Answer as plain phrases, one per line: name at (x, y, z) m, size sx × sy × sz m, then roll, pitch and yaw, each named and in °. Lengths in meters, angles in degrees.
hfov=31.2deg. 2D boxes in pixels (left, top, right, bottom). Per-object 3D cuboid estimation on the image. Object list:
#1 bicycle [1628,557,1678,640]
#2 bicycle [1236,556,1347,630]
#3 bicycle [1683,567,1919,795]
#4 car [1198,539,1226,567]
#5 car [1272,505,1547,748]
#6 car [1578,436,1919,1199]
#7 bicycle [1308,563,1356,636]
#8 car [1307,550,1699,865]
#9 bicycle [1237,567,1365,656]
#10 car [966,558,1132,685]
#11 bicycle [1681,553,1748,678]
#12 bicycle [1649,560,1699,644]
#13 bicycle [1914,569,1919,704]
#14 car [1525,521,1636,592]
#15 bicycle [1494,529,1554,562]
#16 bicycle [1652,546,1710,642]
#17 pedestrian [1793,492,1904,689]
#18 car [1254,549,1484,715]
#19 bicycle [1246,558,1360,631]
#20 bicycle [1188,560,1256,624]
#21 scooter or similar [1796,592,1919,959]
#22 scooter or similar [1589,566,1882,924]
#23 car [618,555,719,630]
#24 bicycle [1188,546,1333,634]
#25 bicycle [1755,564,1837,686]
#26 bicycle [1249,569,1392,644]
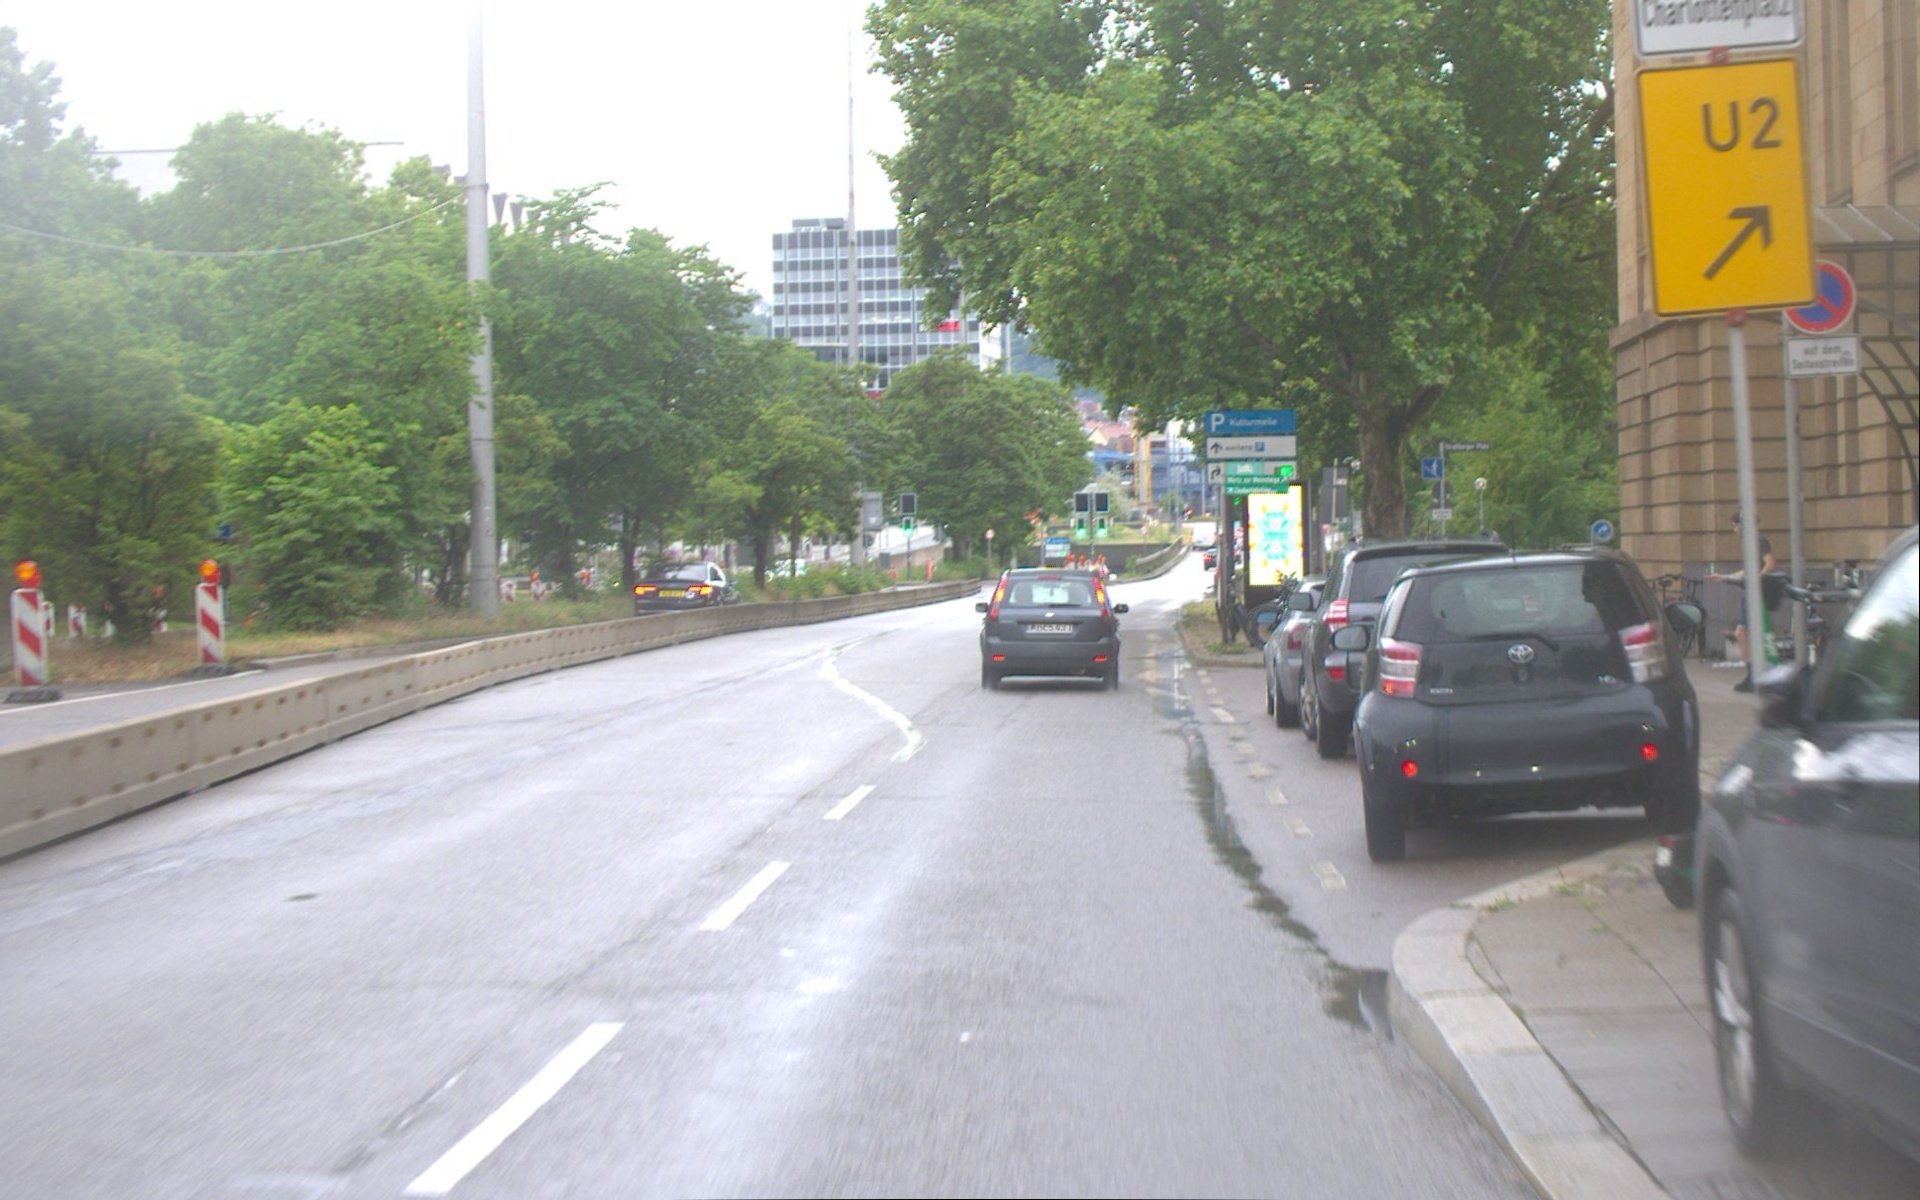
bicycle at (9.323, -0.024, 46.306) m, size 0.352 × 1.076 × 1.789 m, roll -2°, pitch 0°, yaw 3°
bicycle at (5.059, -0.105, 52.484) m, size 1.679 × 1.118 × 0.601 m, roll 0°, pitch 1°, yaw 6°
bicycle at (4.883, 0.434, 19.745) m, size 0.775 × 1.214 × 1.966 m, roll -2°, pitch 1°, yaw -8°
car at (16.952, -3.175, 231.113) m, size 1.739 × 1.765 × 3.999 m, roll -2°, pitch 0°, yaw 5°
car at (3.489, 0.184, 27.296) m, size 1.994 × 1.775 × 4.187 m, roll 0°, pitch 0°, yaw 5°
car at (2.505, 0.494, 6.933) m, size 1.871 × 1.613 × 4.404 m, roll -2°, pitch 1°, yaw 3°
bicycle at (6.293, -0.015, 58.046) m, size 0.605 × 1.193 × 1.904 m, roll -2°, pitch 0°, yaw 11°
car at (2.780, 0.501, 17.801) m, size 1.759 × 1.409 × 3.151 m, roll -3°, pitch 0°, yaw 8°
bicycle at (5.126, 0.163, 51.768) m, size 1.906 × 1.328 × 0.650 m, roll 0°, pitch 1°, yaw 6°
car at (1.034, 0.249, 41.773) m, size 1.844 × 1.411 × 3.839 m, roll -2°, pitch 0°, yaw 0°
bicycle at (9.367, 0.178, 42.707) m, size 0.453 × 1.510 × 1.600 m, roll 1°, pitch 1°, yaw 1°
bicycle at (9.276, 0.018, 44.689) m, size 0.352 × 1.076 × 1.789 m, roll 1°, pitch 0°, yaw 3°
bicycle at (7.542, 0.284, 25.591) m, size 0.583 × 1.034 × 1.758 m, roll 0°, pitch 0°, yaw 7°
car at (15.161, -1.089, 84.287) m, size 1.994 × 1.604 × 5.236 m, roll 0°, pitch 2°, yaw 3°
bicycle at (21.010, -2.037, 128.062) m, size 2.034 × 1.169 × 0.960 m, roll -1°, pitch 1°, yaw -5°
bicycle at (9.520, -0.091, 45.412) m, size 0.453 × 1.246 × 1.600 m, roll 1°, pitch 1°, yaw 2°
pedestrian at (8.265, -0.089, 32.016) m, size 0.795 × 1.771 × 0.642 m, roll -3°, pitch 0°, yaw 3°
car at (3.782, 0.271, 32.313) m, size 1.932 × 1.473 × 3.702 m, roll 0°, pitch 0°, yaw 4°
bicycle at (5.106, -0.082, 51.152) m, size 1.679 × 1.086 × 0.650 m, roll 0°, pitch 1°, yaw 6°
bicycle at (4.077, -0.132, 53.412) m, size 0.670 × 0.964 × 1.636 m, roll 0°, pitch 1°, yaw 19°
scooter or similar at (3.332, 0.592, 12.159) m, size 0.433 × 1.212 × 1.122 m, roll -3°, pitch 0°, yaw 1°
scooter or similar at (3.095, 0.546, 13.667) m, size 1.328 × 1.363 × 0.435 m, roll 0°, pitch 0°, yaw -41°
car at (-6.011, -0.165, 71.226) m, size 1.754 × 1.447 × 4.000 m, roll 2°, pitch 0°, yaw -1°
bicycle at (4.593, -0.153, 52.477) m, size 2.191 × 1.332 × 0.650 m, roll 0°, pitch 1°, yaw 6°
bicycle at (8.481, 0.244, 34.912) m, size 0.464 × 1.211 × 1.691 m, roll 0°, pitch 0°, yaw 1°
bicycle at (5.189, 0.090, 49.576) m, size 1.985 × 1.056 × 0.759 m, roll 0°, pitch 1°, yaw 1°
